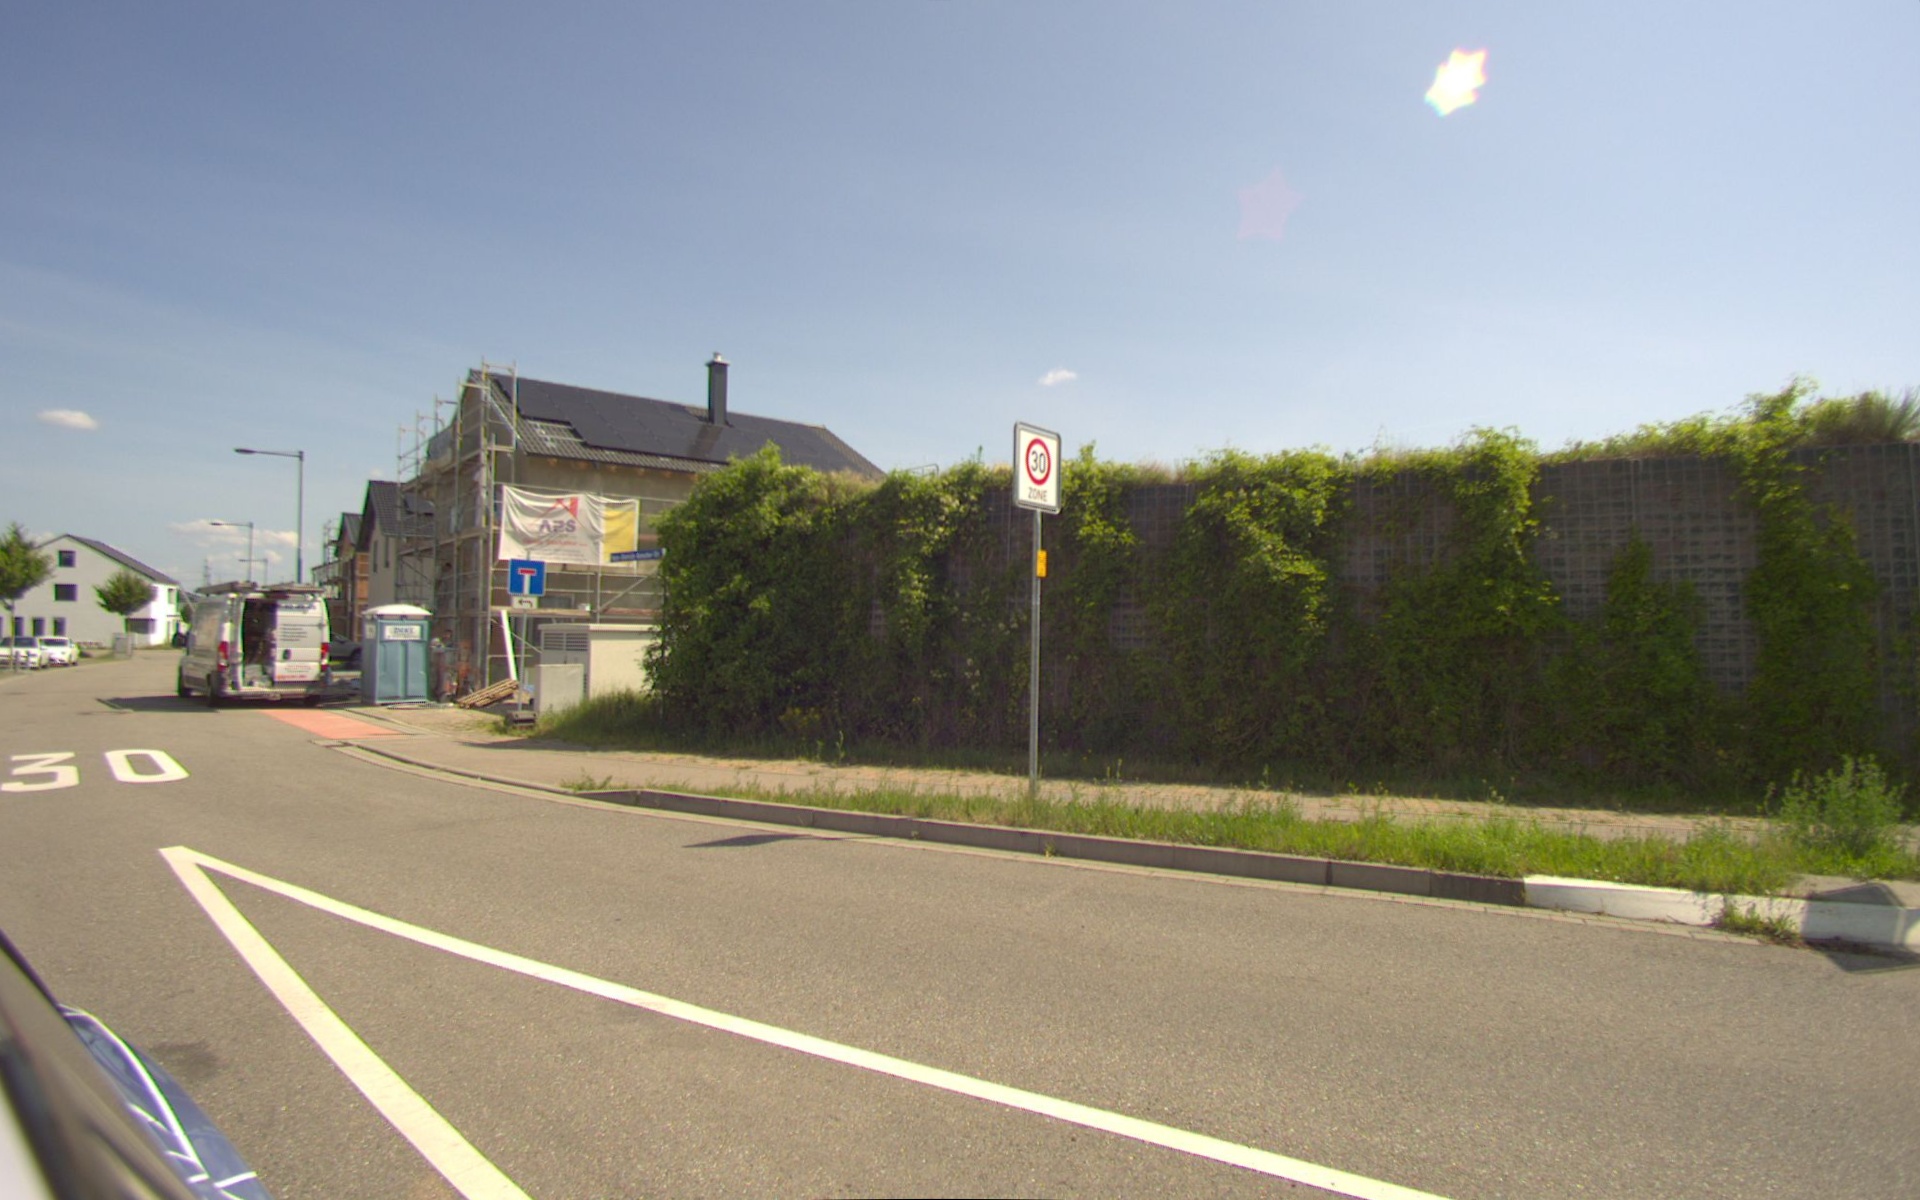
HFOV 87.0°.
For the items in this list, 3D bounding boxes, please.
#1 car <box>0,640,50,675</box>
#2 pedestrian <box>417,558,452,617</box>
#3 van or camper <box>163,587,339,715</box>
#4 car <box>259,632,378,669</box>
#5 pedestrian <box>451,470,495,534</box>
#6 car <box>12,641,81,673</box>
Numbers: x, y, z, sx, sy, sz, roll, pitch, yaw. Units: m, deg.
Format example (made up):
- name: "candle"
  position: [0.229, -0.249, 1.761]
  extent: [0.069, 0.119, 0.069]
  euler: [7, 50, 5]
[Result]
- name: "car"
  position: [-41.044, 2.480, 43.920]
  extent: [1.756, 1.437, 4.524]
  euler: [4, -5, -35]
- name: "pedestrian"
  position: [-15.497, -0.355, 29.864]
  extent: [0.737, 1.692, 0.579]
  euler: [3, -2, -43]
- name: "van or camper"
  position: [-16.597, 1.115, 23.501]
  extent: [2.246, 2.573, 6.371]
  euler: [3, -3, -45]
- name: "car"
  position: [-29.321, 2.328, 46.320]
  extent: [4.368, 1.624, 2.004]
  euler: [3, -4, -39]
- name: "pedestrian"
  position: [-12.093, -2.434, 25.147]
  extent: [0.741, 1.511, 0.561]
  euler: [2, -1, 15]
- name: "car"
  position: [-44.421, 2.746, 49.291]
  extent: [1.790, 1.467, 4.576]
  euler: [4, -4, -34]
